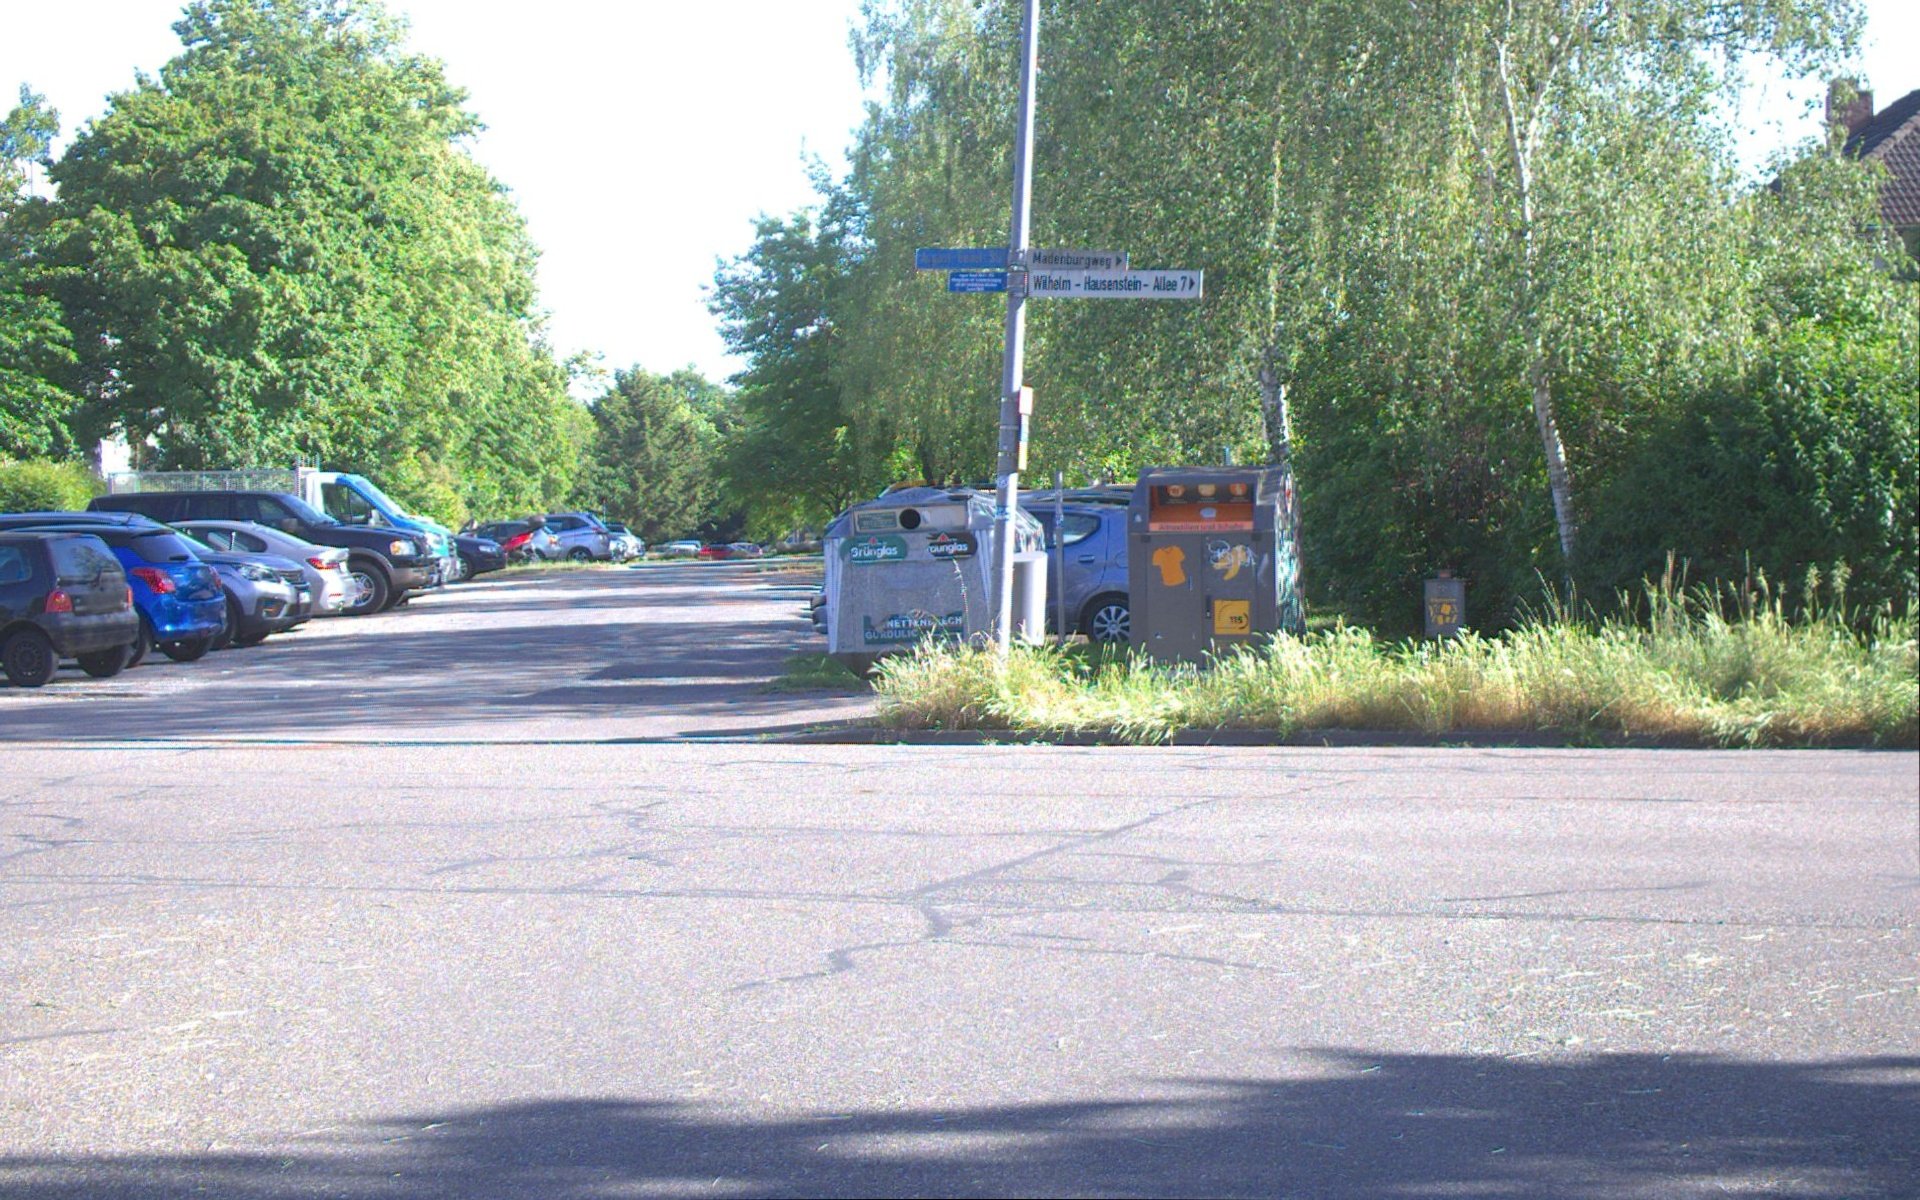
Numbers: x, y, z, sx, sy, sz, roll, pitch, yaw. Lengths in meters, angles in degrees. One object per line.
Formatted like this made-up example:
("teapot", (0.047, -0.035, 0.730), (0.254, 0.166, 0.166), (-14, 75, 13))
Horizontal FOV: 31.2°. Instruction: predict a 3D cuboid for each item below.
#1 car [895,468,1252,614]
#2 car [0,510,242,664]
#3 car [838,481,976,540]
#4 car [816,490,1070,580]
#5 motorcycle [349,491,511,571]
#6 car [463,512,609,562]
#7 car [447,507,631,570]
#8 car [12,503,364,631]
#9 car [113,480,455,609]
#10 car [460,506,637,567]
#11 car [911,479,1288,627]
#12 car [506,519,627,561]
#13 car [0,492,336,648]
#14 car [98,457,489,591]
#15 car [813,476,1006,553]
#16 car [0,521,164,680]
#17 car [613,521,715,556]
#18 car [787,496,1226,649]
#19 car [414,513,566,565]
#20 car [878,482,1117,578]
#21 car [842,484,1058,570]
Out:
("car", (1.358, -0.743, 41.949), (4.103, 1.700, 1.791), (-1, 3, -8))
("car", (-9.582, -0.130, 35.912), (3.681, 1.491, 1.650), (-1, 2, 11))
("car", (-1.536, -2.615, 100.921), (3.987, 1.702, 1.798), (0, 1, 2))
("car", (-0.241, -1.042, 54.967), (3.987, 1.396, 1.798), (0, 1, 2))
("motorcycle", (-10.970, -1.425, 71.272), (3.191, 1.590, 0.923), (-1, 2, 0))
("car", (-12.029, -1.806, 97.691), (3.939, 1.329, 1.847), (-1, 2, -2))
("car", (-9.403, -1.388, 77.015), (3.939, 1.329, 1.847), (-1, 2, -2))
("car", (-9.814, -0.434, 43.916), (4.143, 1.450, 1.620), (-2, 1, -4))
("car", (-9.786, -0.820, 49.976), (4.523, 1.765, 1.847), (-1, 2, 4))
("car", (-9.573, -1.491, 80.152), (3.939, 1.329, 1.847), (-1, 2, -2))
("car", (1.551, -0.556, 39.131), (4.051, 1.597, 1.791), (0, 3, -7))
("car", (-13.414, -2.056, 117.391), (3.939, 1.329, 1.847), (-1, 2, -2))
("car", (-9.950, -0.342, 39.918), (4.992, 1.649, 1.784), (-2, 2, 4))
("car", (-11.296, -1.310, 58.700), (6.255, 2.139, 2.411), (-1, 2, -3))
("car", (-1.038, -1.796, 72.373), (3.987, 1.580, 1.798), (0, 1, 2))
("car", (-9.780, -0.009, 33.494), (3.524, 1.461, 1.703), (0, 2, 15))
("car", (-10.893, -2.274, 126.808), (3.644, 1.208, 1.847), (-1, 2, -2))
("car", (0.479, -0.289, 33.614), (4.054, 1.434, 1.634), (0, 1, 12))
("car", (-12.874, -1.676, 94.319), (3.939, 1.329, 1.847), (-1, 2, -2))
("car", (0.650, -1.183, 58.289), (3.987, 1.580, 1.798), (0, 1, 2))
("car", (-0.157, -1.361, 64.318), (3.987, 1.580, 1.798), (0, 1, 2))
